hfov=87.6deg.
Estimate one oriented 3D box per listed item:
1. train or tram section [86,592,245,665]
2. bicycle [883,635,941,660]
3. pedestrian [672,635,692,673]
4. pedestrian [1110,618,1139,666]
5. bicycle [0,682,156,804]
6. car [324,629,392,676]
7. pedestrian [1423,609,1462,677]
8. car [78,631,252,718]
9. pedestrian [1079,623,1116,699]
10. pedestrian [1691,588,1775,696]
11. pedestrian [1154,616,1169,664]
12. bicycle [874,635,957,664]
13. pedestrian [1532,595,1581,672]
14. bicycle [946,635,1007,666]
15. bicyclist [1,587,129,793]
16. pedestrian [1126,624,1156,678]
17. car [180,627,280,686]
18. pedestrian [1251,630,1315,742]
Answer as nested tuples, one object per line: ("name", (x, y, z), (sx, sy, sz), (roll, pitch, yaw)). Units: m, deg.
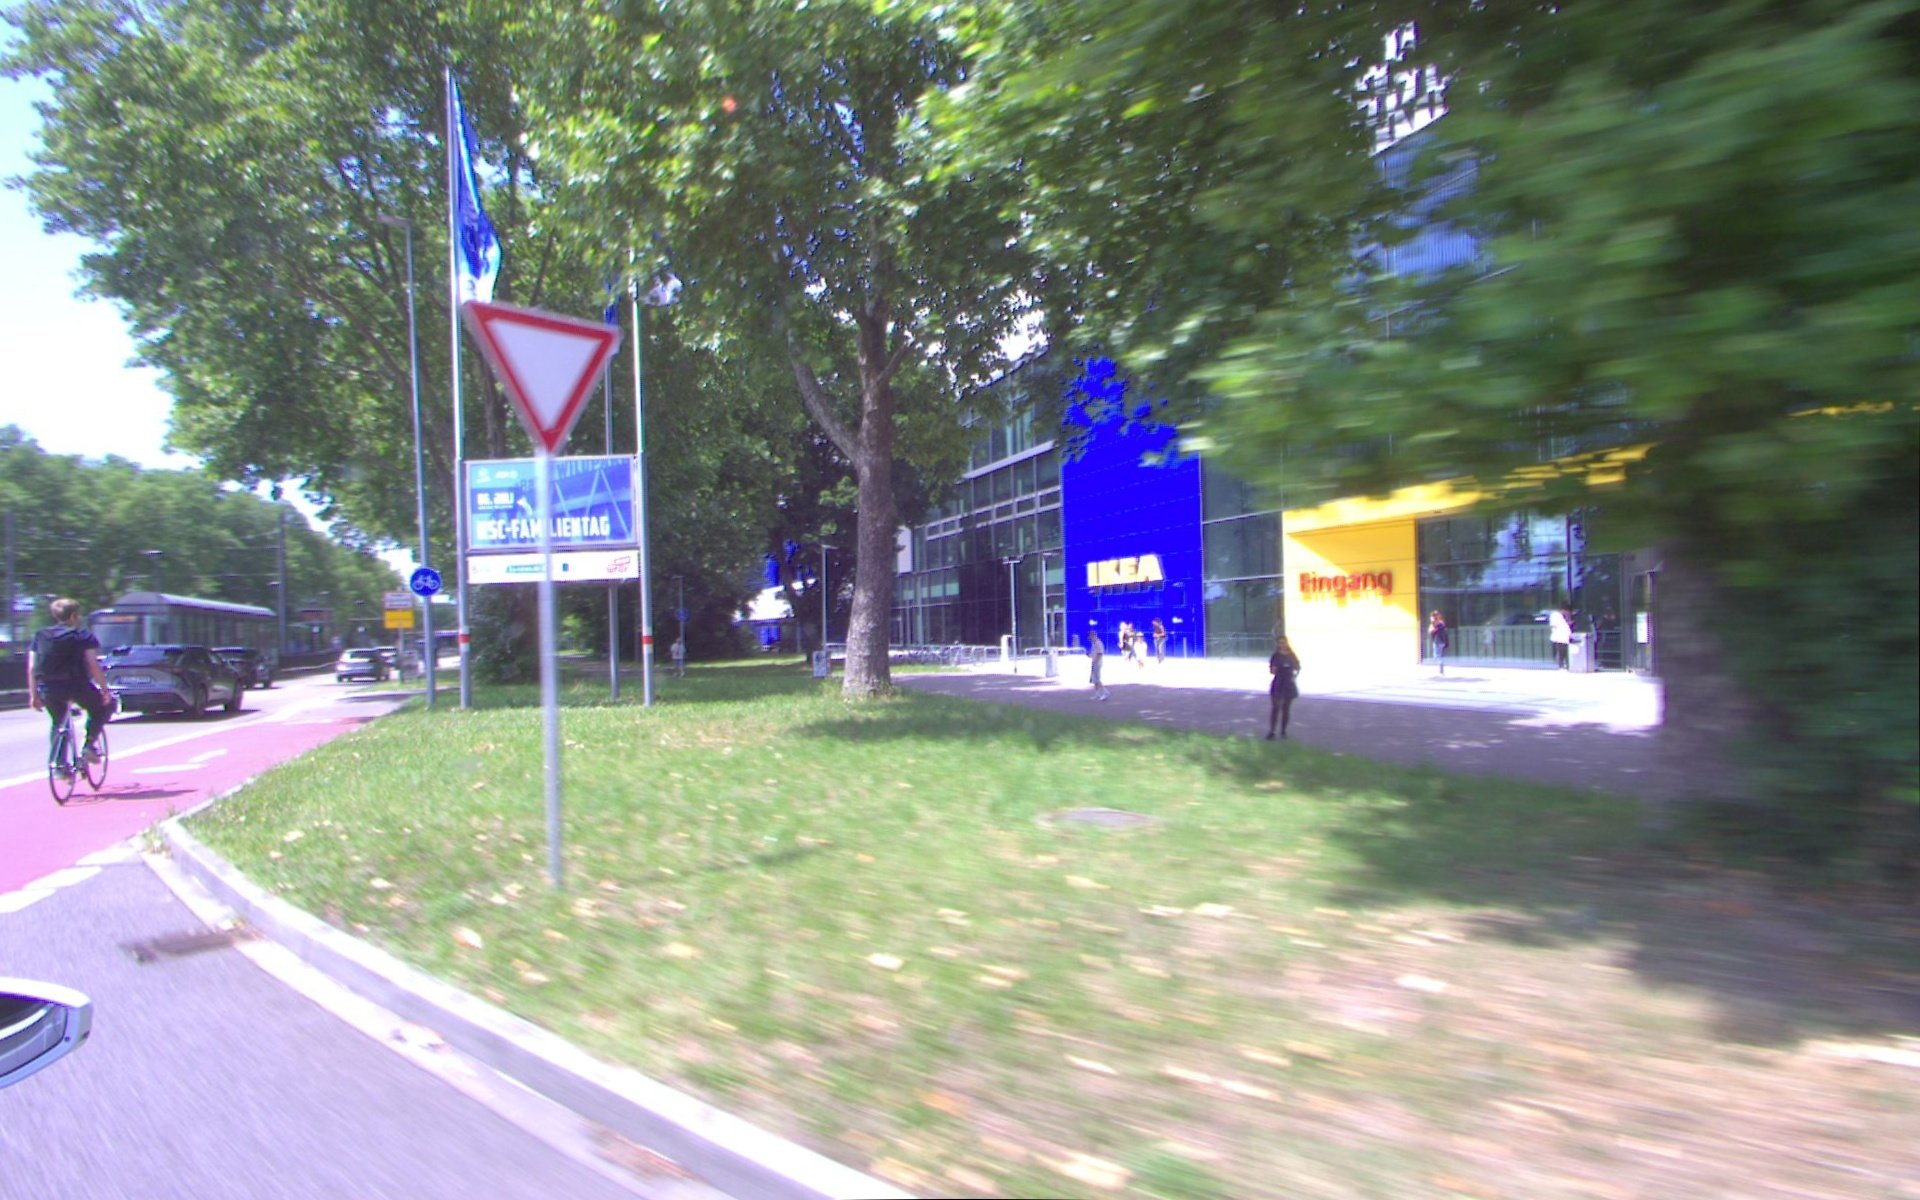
("train or tram section", (-40.292, 1.564, 51.509), (2.998, 3.226, 14.057), (-1, -2, -24))
("bicycle", (-2.350, 2.323, 49.168), (2.724, 1.136, 0.897), (-2, -1, 2))
("pedestrian", (-12.568, 2.433, 45.195), (0.765, 1.717, 0.889), (0, -1, -22))
("pedestrian", (5.923, 1.503, 35.968), (0.773, 1.685, 0.884), (0, 0, 28))
("bicycle", (-8.649, 1.340, 9.807), (0.612, 1.011, 2.019), (0, -3, -21))
("car", (-27.567, 2.356, 46.008), (1.967, 2.015, 4.351), (0, -1, -22))
("pedestrian", (12.282, 1.081, 25.487), (0.695, 1.685, 0.798), (-2, 0, 39))
("car", (-17.425, 1.560, 22.221), (1.873, 1.696, 4.507), (0, -2, -23))
("pedestrian", (3.333, 1.466, 24.283), (0.654, 1.796, 0.667), (-1, 2, -20))
("pedestrian", (14.059, 0.761, 18.249), (0.957, 1.910, 0.886), (-1, -1, 18))
("pedestrian", (7.263, 1.445, 36.086), (0.534, 1.723, 0.421), (0, 0, 15))
("bicycle", (-2.081, 2.319, 47.138), (3.764, 1.191, 0.987), (-2, -1, 3))
("pedestrian", (15.242, 0.847, 25.598), (0.606, 1.910, 0.781), (-3, 0, -12))
("bicycle", (0.718, 2.150, 42.826), (2.481, 1.191, 0.693), (-2, 0, -15))
("bicyclist", (-8.589, 0.842, 9.650), (0.601, 1.869, 0.921), (1, -2, -22))
("pedestrian", (5.555, 1.572, 30.692), (0.582, 1.636, 0.664), (0, -3, -25))
("car", (-26.927, 2.024, 37.115), (1.967, 2.015, 4.351), (1, -1, -22))
("pedestrian", (5.091, 1.333, 15.790), (0.587, 1.686, 0.713), (-5, 3, -43))
